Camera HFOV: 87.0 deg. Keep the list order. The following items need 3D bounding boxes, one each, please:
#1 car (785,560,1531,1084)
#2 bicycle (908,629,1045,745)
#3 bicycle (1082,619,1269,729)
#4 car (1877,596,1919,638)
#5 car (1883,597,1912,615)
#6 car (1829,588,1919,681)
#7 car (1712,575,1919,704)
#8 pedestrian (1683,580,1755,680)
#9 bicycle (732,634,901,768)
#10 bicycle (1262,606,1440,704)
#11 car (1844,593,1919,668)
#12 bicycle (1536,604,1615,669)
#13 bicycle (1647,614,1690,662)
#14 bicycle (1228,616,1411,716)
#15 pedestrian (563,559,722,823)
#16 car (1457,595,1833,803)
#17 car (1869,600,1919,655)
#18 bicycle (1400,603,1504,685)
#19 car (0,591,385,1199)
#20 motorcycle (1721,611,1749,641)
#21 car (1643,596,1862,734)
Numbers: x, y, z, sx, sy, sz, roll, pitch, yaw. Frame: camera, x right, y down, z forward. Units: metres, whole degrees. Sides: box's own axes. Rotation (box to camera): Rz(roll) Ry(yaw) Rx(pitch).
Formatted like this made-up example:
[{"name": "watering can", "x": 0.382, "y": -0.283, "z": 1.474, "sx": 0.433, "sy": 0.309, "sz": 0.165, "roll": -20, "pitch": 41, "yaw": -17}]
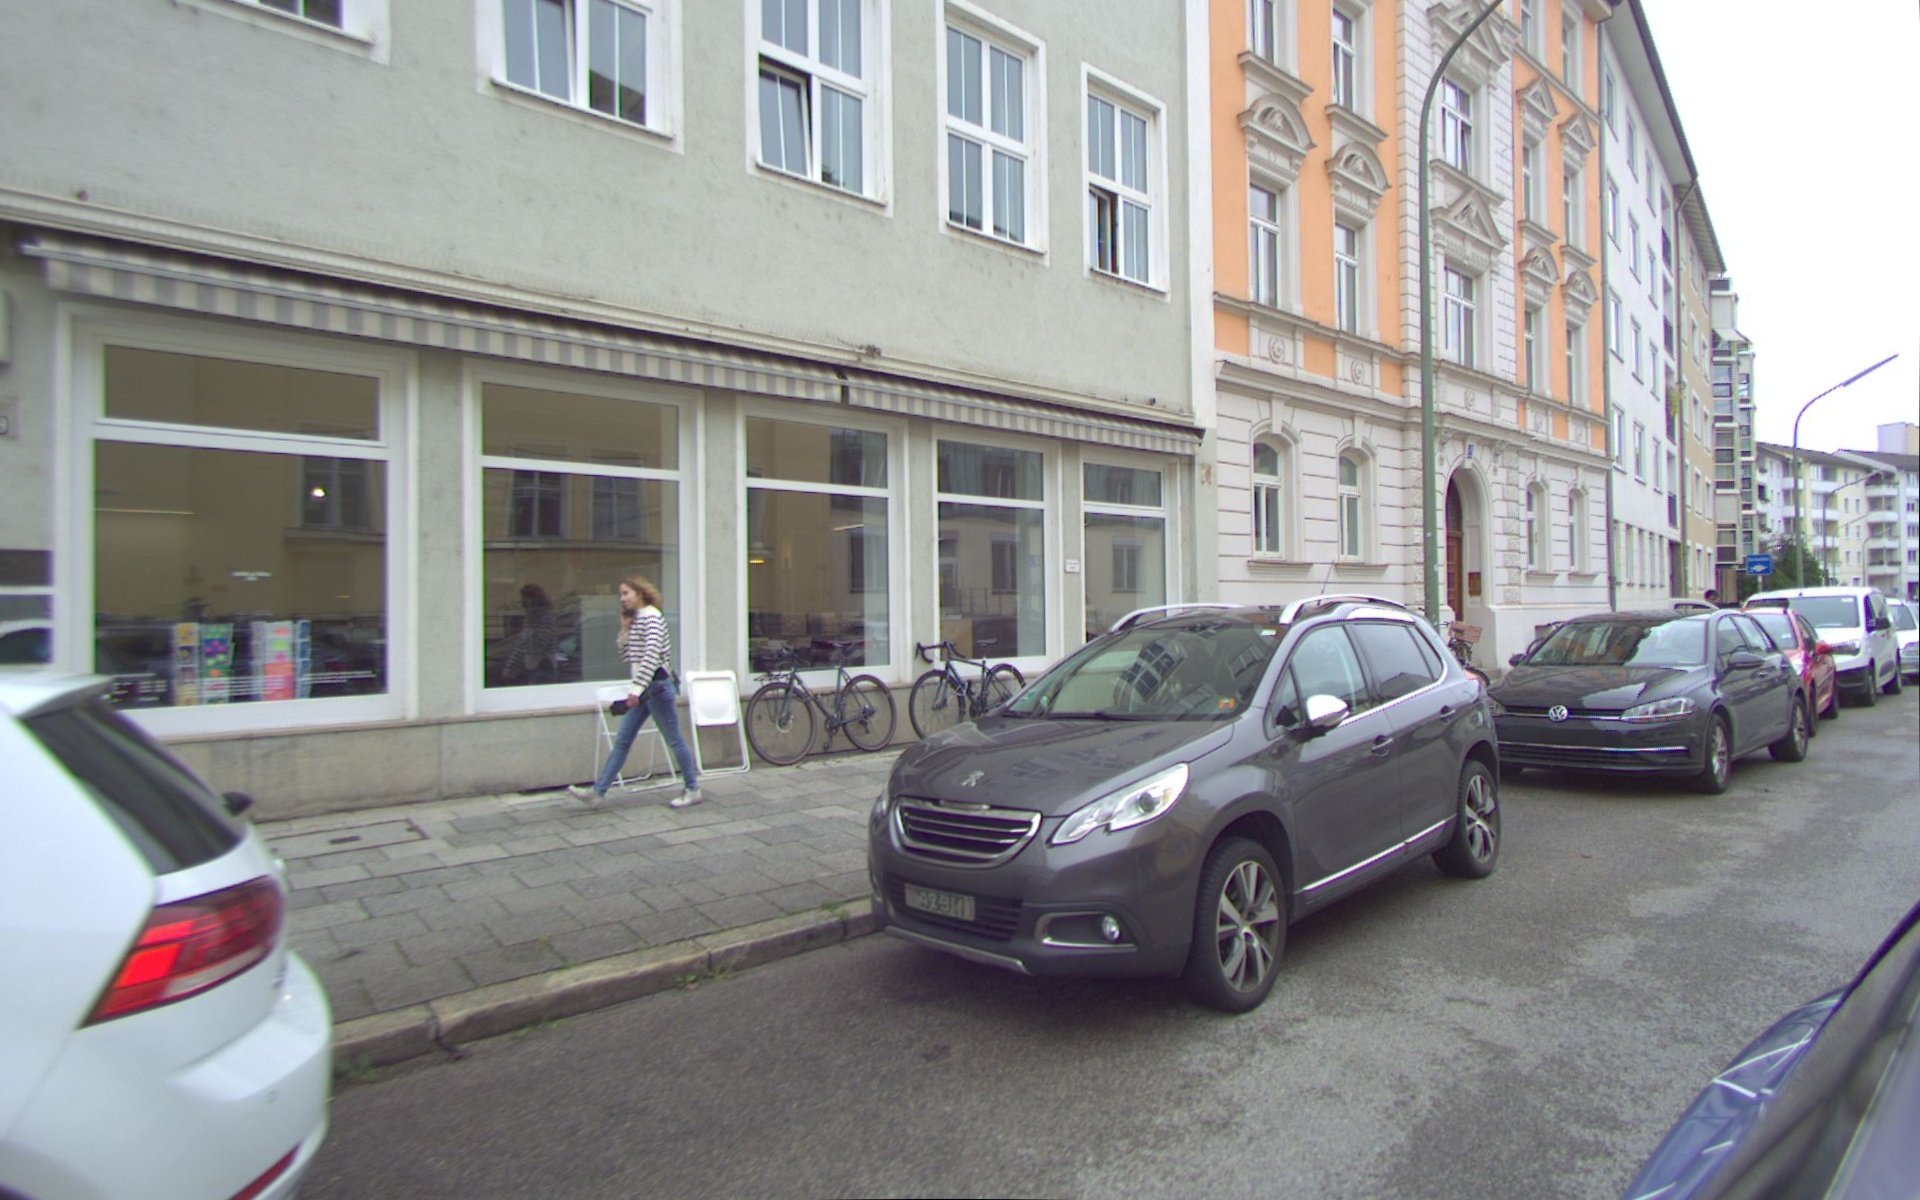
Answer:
[{"name": "car", "x": 1.286, "y": 0.708, "z": 5.139, "sx": 4.016, "sy": 1.604, "sz": 1.692, "roll": 0, "pitch": -3, "yaw": -44}, {"name": "bicycle", "x": 0.185, "y": 0.813, "z": 9.831, "sx": 1.494, "sy": 1.017, "sz": 0.331, "roll": 0, "pitch": 0, "yaw": -40}, {"name": "bicycle", "x": 2.484, "y": 0.777, "z": 11.439, "sx": 2.415, "sy": 1.088, "sz": 0.770, "roll": 0, "pitch": 0, "yaw": -41}, {"name": "car", "x": 35.244, "y": 0.603, "z": 37.488, "sx": 1.890, "sy": 1.481, "sz": 4.421, "roll": 1, "pitch": 1, "yaw": 42}, {"name": "car", "x": 83.158, "y": 0.525, "z": 89.733, "sx": 3.512, "sy": 1.472, "sz": 1.752, "roll": 0, "pitch": -1, "yaw": -45}, {"name": "car", "x": 18.061, "y": 0.620, "z": 19.690, "sx": 1.602, "sy": 1.663, "sz": 3.576, "roll": -4, "pitch": -2, "yaw": 42}, {"name": "car", "x": 14.064, "y": 0.594, "z": 16.479, "sx": 4.809, "sy": 1.809, "sz": 1.843, "roll": 0, "pitch": -3, "yaw": -41}, {"name": "pedestrian", "x": 13.207, "y": 0.516, "z": 17.616, "sx": 0.636, "sy": 1.683, "sz": 0.862, "roll": 1, "pitch": -1, "yaw": -41}, {"name": "bicycle", "x": -1.204, "y": 0.829, "z": 8.707, "sx": 1.495, "sy": 1.017, "sz": 0.331, "roll": 0, "pitch": 0, "yaw": -41}, {"name": "bicycle", "x": 5.124, "y": 0.709, "z": 13.342, "sx": 2.057, "sy": 1.198, "sz": 0.609, "roll": 2, "pitch": 0, "yaw": 3}, {"name": "car", "x": 21.913, "y": 0.662, "z": 23.352, "sx": 4.129, "sy": 1.608, "sz": 1.742, "roll": 0, "pitch": -3, "yaw": -42}, {"name": "bicycle", "x": 12.076, "y": 0.714, "z": 19.817, "sx": 2.057, "sy": 1.198, "sz": 0.652, "roll": 2, "pitch": 0, "yaw": -39}, {"name": "bicycle", "x": 18.024, "y": 0.953, "z": 25.745, "sx": 0.666, "sy": 1.136, "sz": 1.627, "roll": -2, "pitch": -1, "yaw": 42}, {"name": "bicycle", "x": 4.480, "y": 0.811, "z": 12.696, "sx": 2.057, "sy": 1.198, "sz": 0.608, "roll": 0, "pitch": -1, "yaw": 4}, {"name": "pedestrian", "x": -2.157, "y": 0.561, "z": 6.875, "sx": 0.813, "sy": 1.646, "sz": 0.735, "roll": 0, "pitch": 0, "yaw": -40}, {"name": "car", "x": 6.343, "y": 0.743, "z": 9.213, "sx": 4.010, "sy": 1.470, "sz": 1.695, "roll": -1, "pitch": -3, "yaw": -39}, {"name": "car", "x": 26.034, "y": 0.724, "z": 27.630, "sx": 1.739, "sy": 1.414, "sz": 4.136, "roll": -3, "pitch": -2, "yaw": 42}, {"name": "bicycle", "x": 7.823, "y": 0.683, "z": 16.039, "sx": 2.057, "sy": 1.198, "sz": 0.652, "roll": 2, "pitch": 0, "yaw": -39}, {"name": "car", "x": -3.119, "y": 0.782, "z": 1.200, "sx": 4.011, "sy": 1.483, "sz": 1.695, "roll": -1, "pitch": -3, "yaw": -40}, {"name": "motorcycle", "x": 29.657, "y": 0.986, "z": 38.725, "sx": 0.628, "sy": 1.140, "sz": 1.770, "roll": -1, "pitch": -1, "yaw": 45}, {"name": "car", "x": 10.200, "y": 0.723, "z": 12.903, "sx": 4.231, "sy": 1.470, "sz": 1.599, "roll": 0, "pitch": -3, "yaw": -44}]
